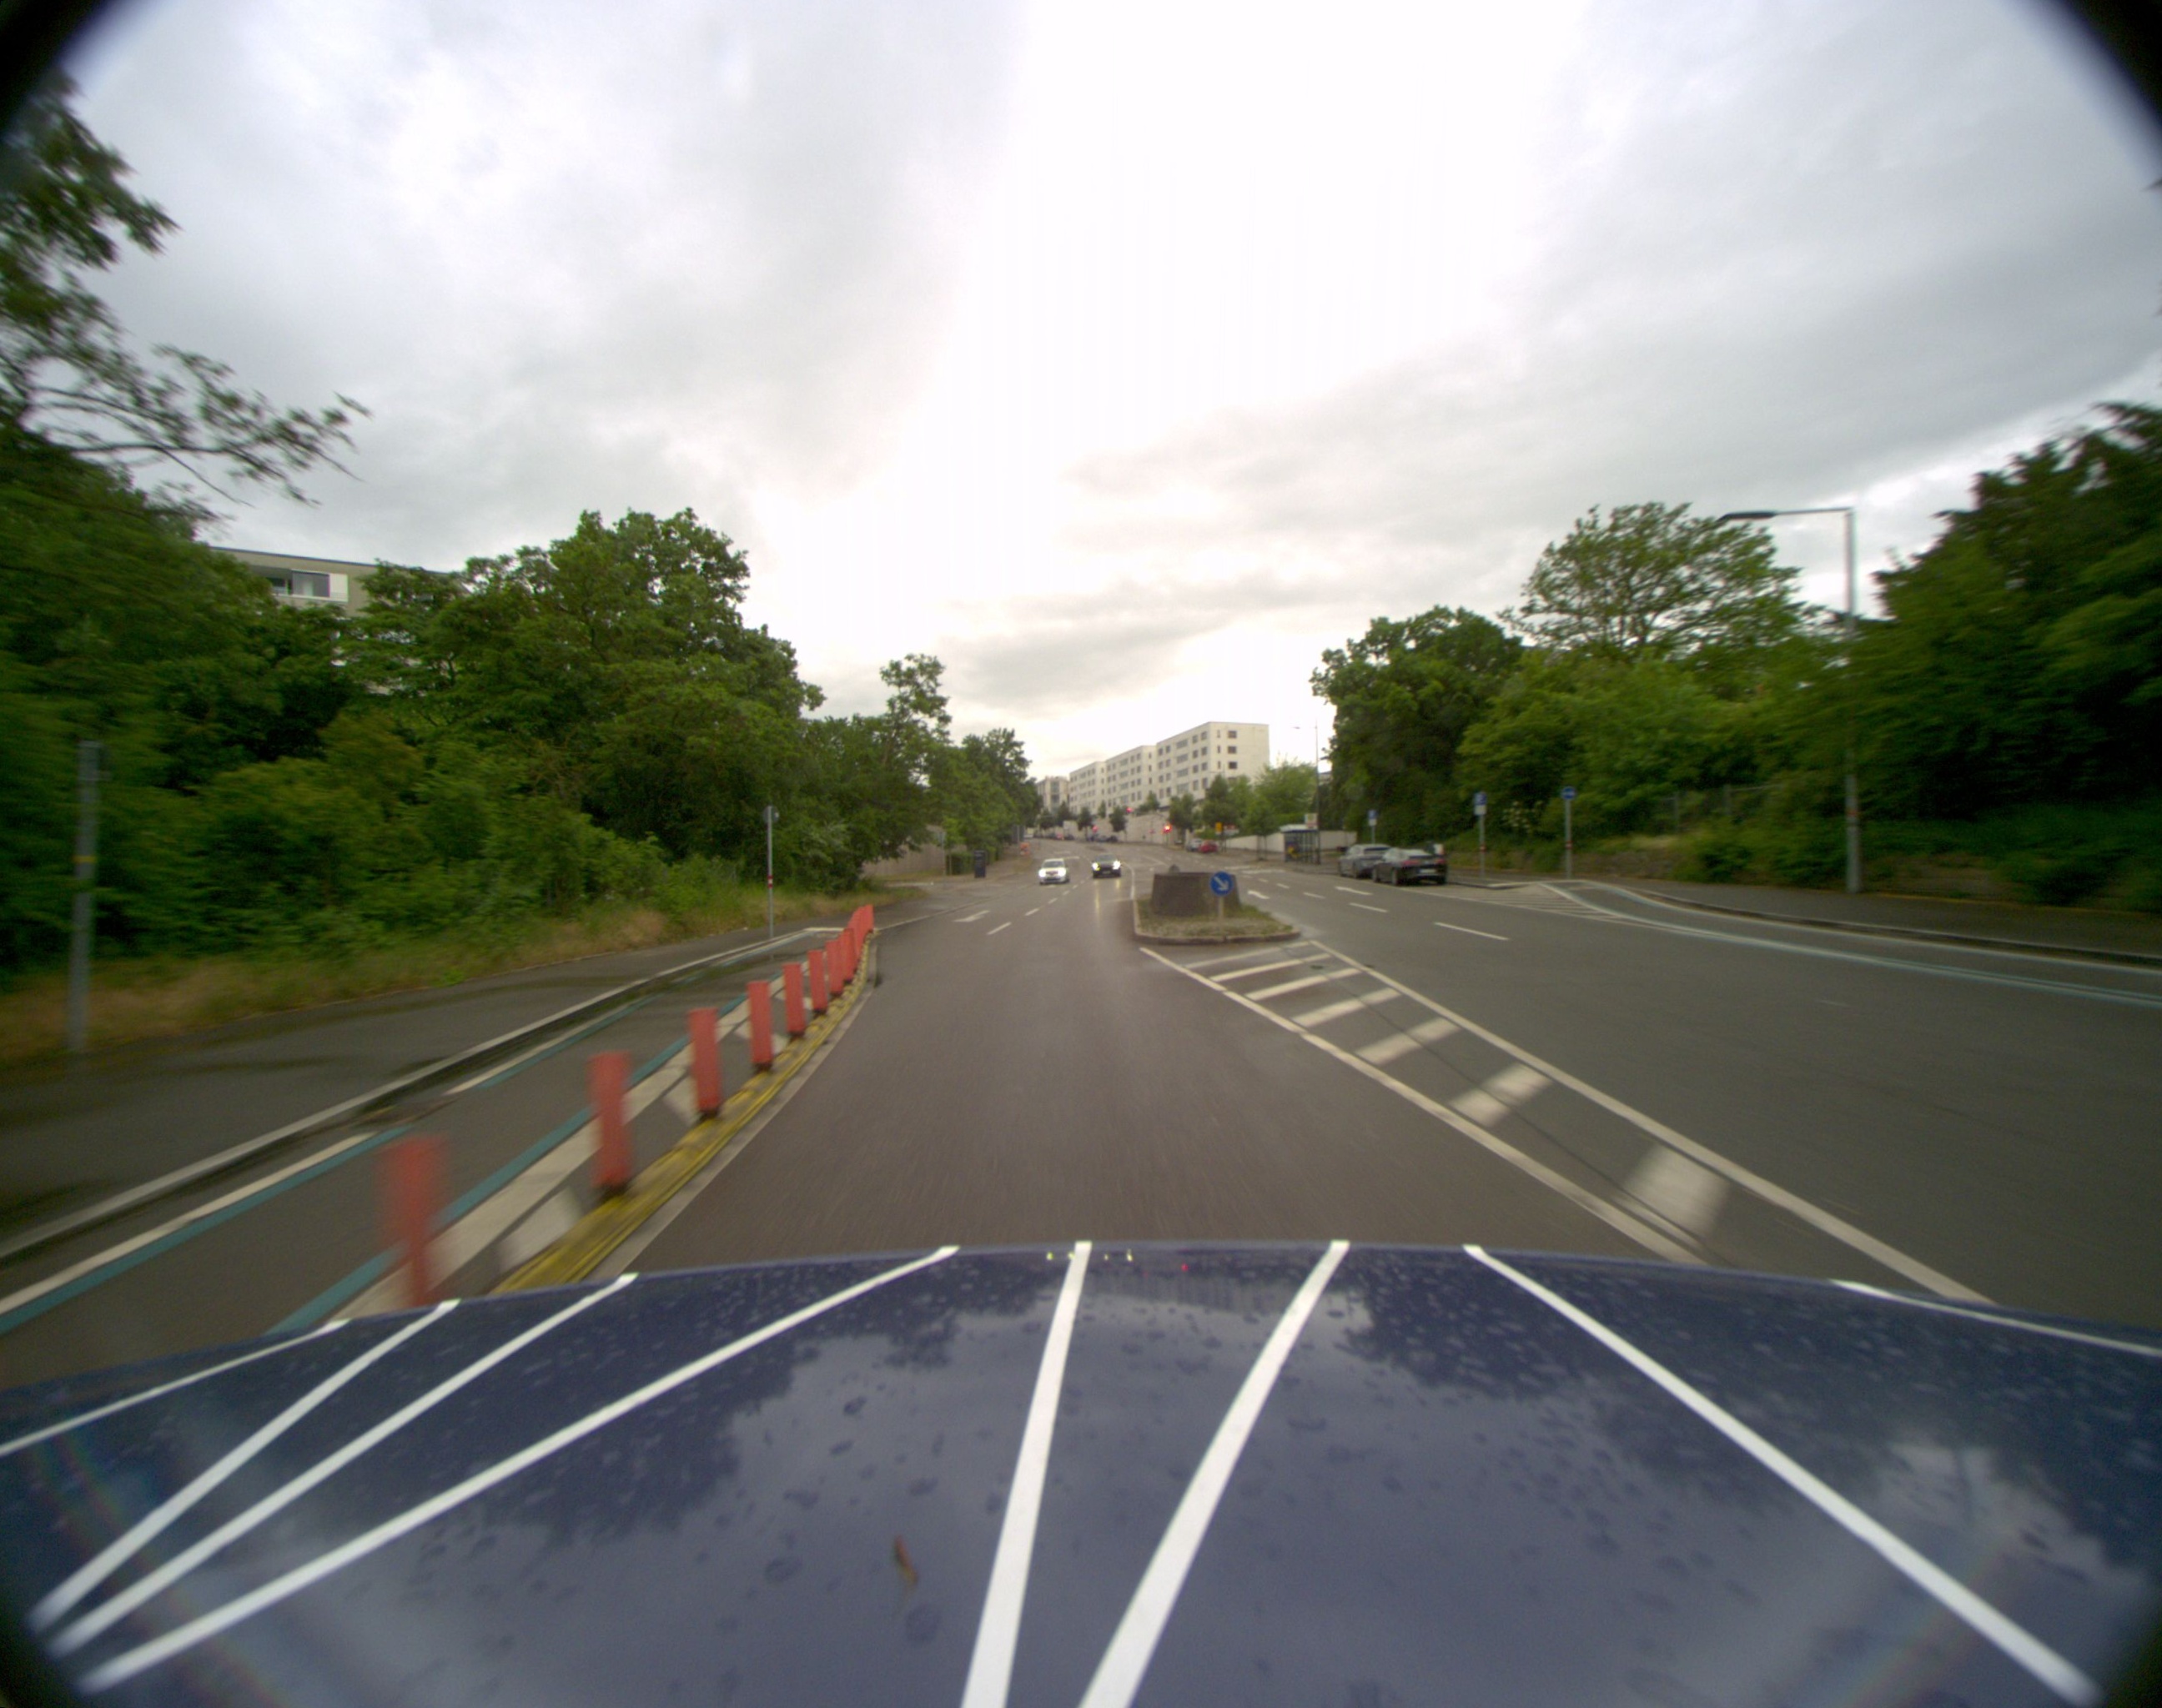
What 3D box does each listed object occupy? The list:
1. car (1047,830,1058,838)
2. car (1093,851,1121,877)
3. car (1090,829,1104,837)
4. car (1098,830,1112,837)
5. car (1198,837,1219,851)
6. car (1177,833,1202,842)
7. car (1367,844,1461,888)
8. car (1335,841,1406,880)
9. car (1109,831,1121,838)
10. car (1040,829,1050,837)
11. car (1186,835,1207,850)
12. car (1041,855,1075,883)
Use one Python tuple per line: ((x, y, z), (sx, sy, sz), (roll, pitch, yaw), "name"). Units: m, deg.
((-7.664, -5.536, 206.658), (1.926, 2.002, 4.379), (-3, 1, -16), "car")
((1.831, 0.681, 54.287), (1.829, 1.584, 3.999), (-3, 1, 0), "car")
((3.559, -4.795, 172.008), (1.792, 1.623, 3.992), (-1, 3, -19), "car")
((5.258, -4.430, 167.516), (1.865, 1.470, 3.992), (-2, 2, -19), "car")
((15.208, -1.242, 90.705), (1.669, 1.578, 4.214), (-1, 2, -2), "car")
((20.788, -3.090, 145.793), (4.350, 1.643, 1.996), (-1, 3, -19), "car")
((12.580, 0.398, 29.059), (1.910, 1.406, 4.784), (-3, 1, 6), "car")
((13.331, 0.231, 35.279), (1.845, 1.580, 4.930), (-3, 1, 6), "car")
((7.341, -4.232, 162.061), (1.683, 1.451, 2.690), (-1, 3, -19), "car")
((-10.489, -6.121, 219.851), (1.926, 2.002, 4.379), (-3, 1, -16), "car")
((14.815, -1.484, 97.632), (1.768, 1.644, 4.881), (-3, 2, -1), "car")
((-1.414, 0.926, 48.394), (1.927, 1.652, 4.000), (-2, 0, 1), "car")
